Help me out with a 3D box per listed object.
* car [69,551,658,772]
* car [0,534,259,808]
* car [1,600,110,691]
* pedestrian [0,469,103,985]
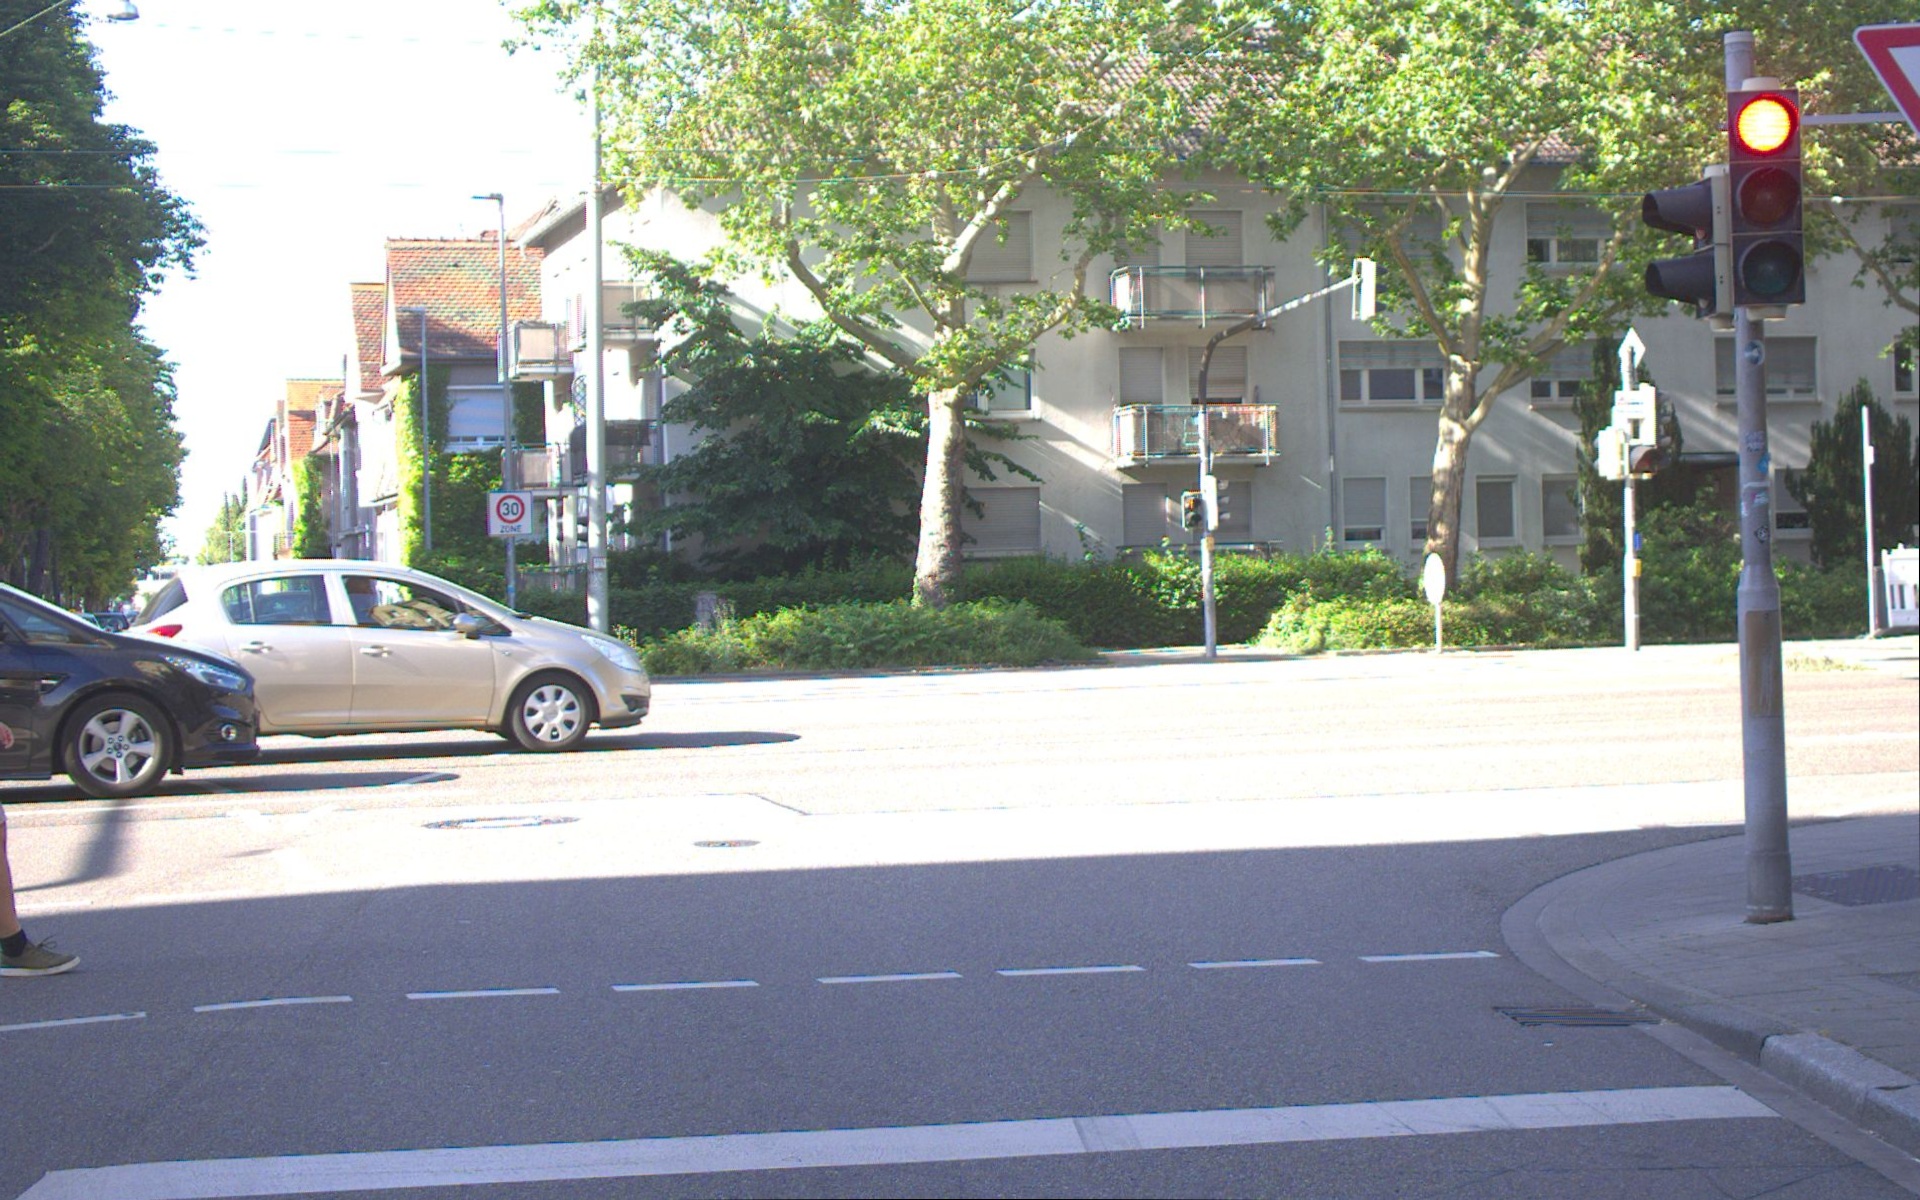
[{"bbox_3d":[-4.512,0.418,25.883,4.200,1.451,1.679,-2,2,-15],"label":"car"},{"bbox_3d":[-6.967,0.487,22.069,4.659,1.659,1.731,-2,1,-16],"label":"car"},{"bbox_3d":[-16.639,0.813,63.358,1.698,1.478,3.535,-3,1,-12],"label":"car"},{"bbox_3d":[-3.782,0.475,12.694,1.065,1.842,0.749,-4,1,-13],"label":"pedestrian"}]
